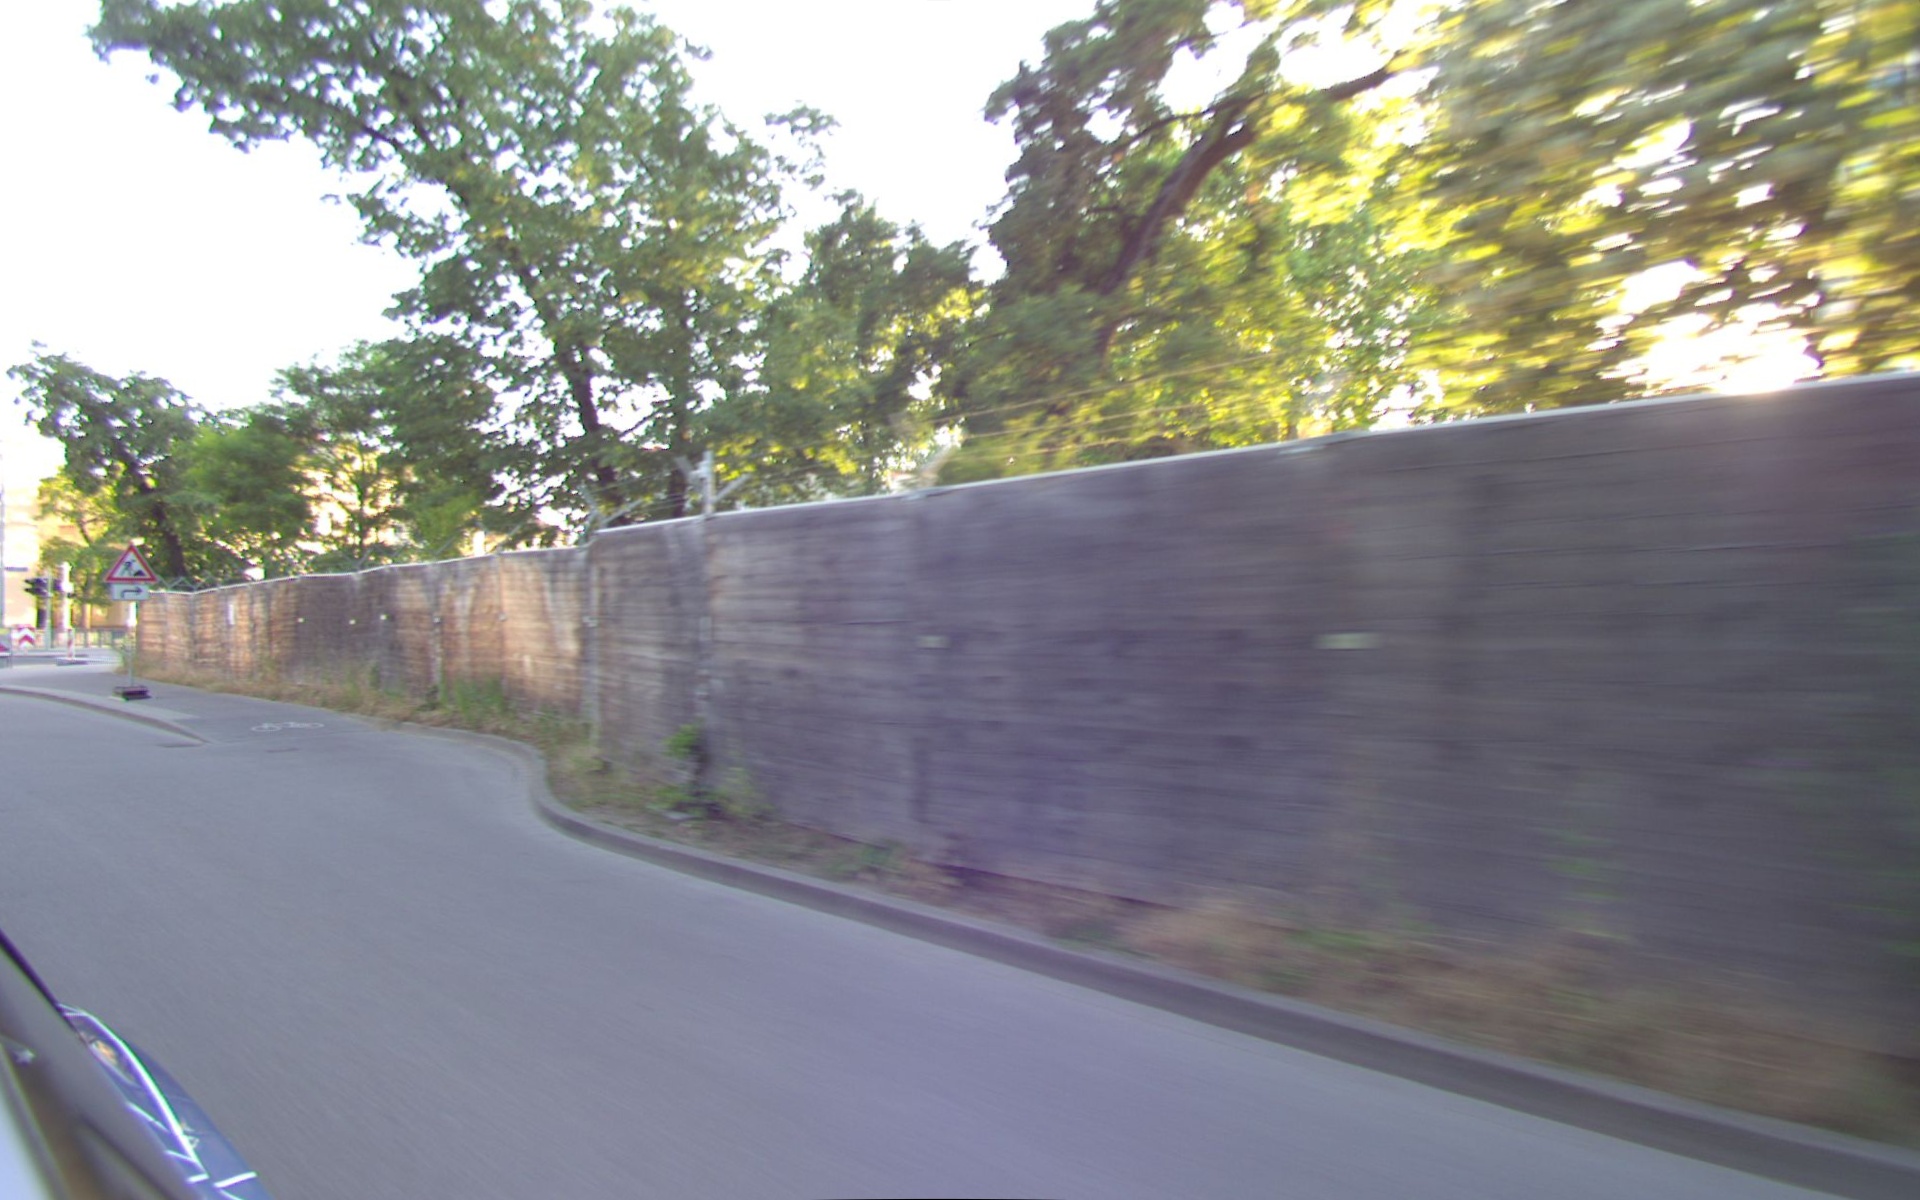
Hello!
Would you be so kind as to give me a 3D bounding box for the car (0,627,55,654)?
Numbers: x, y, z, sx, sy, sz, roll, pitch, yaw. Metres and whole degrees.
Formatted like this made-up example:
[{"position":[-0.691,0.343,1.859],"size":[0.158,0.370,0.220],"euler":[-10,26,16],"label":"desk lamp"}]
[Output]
[{"position":[-55.441,2.331,58.719],"size":[1.979,1.516,3.986],"euler":[1,-1,11],"label":"car"}]
